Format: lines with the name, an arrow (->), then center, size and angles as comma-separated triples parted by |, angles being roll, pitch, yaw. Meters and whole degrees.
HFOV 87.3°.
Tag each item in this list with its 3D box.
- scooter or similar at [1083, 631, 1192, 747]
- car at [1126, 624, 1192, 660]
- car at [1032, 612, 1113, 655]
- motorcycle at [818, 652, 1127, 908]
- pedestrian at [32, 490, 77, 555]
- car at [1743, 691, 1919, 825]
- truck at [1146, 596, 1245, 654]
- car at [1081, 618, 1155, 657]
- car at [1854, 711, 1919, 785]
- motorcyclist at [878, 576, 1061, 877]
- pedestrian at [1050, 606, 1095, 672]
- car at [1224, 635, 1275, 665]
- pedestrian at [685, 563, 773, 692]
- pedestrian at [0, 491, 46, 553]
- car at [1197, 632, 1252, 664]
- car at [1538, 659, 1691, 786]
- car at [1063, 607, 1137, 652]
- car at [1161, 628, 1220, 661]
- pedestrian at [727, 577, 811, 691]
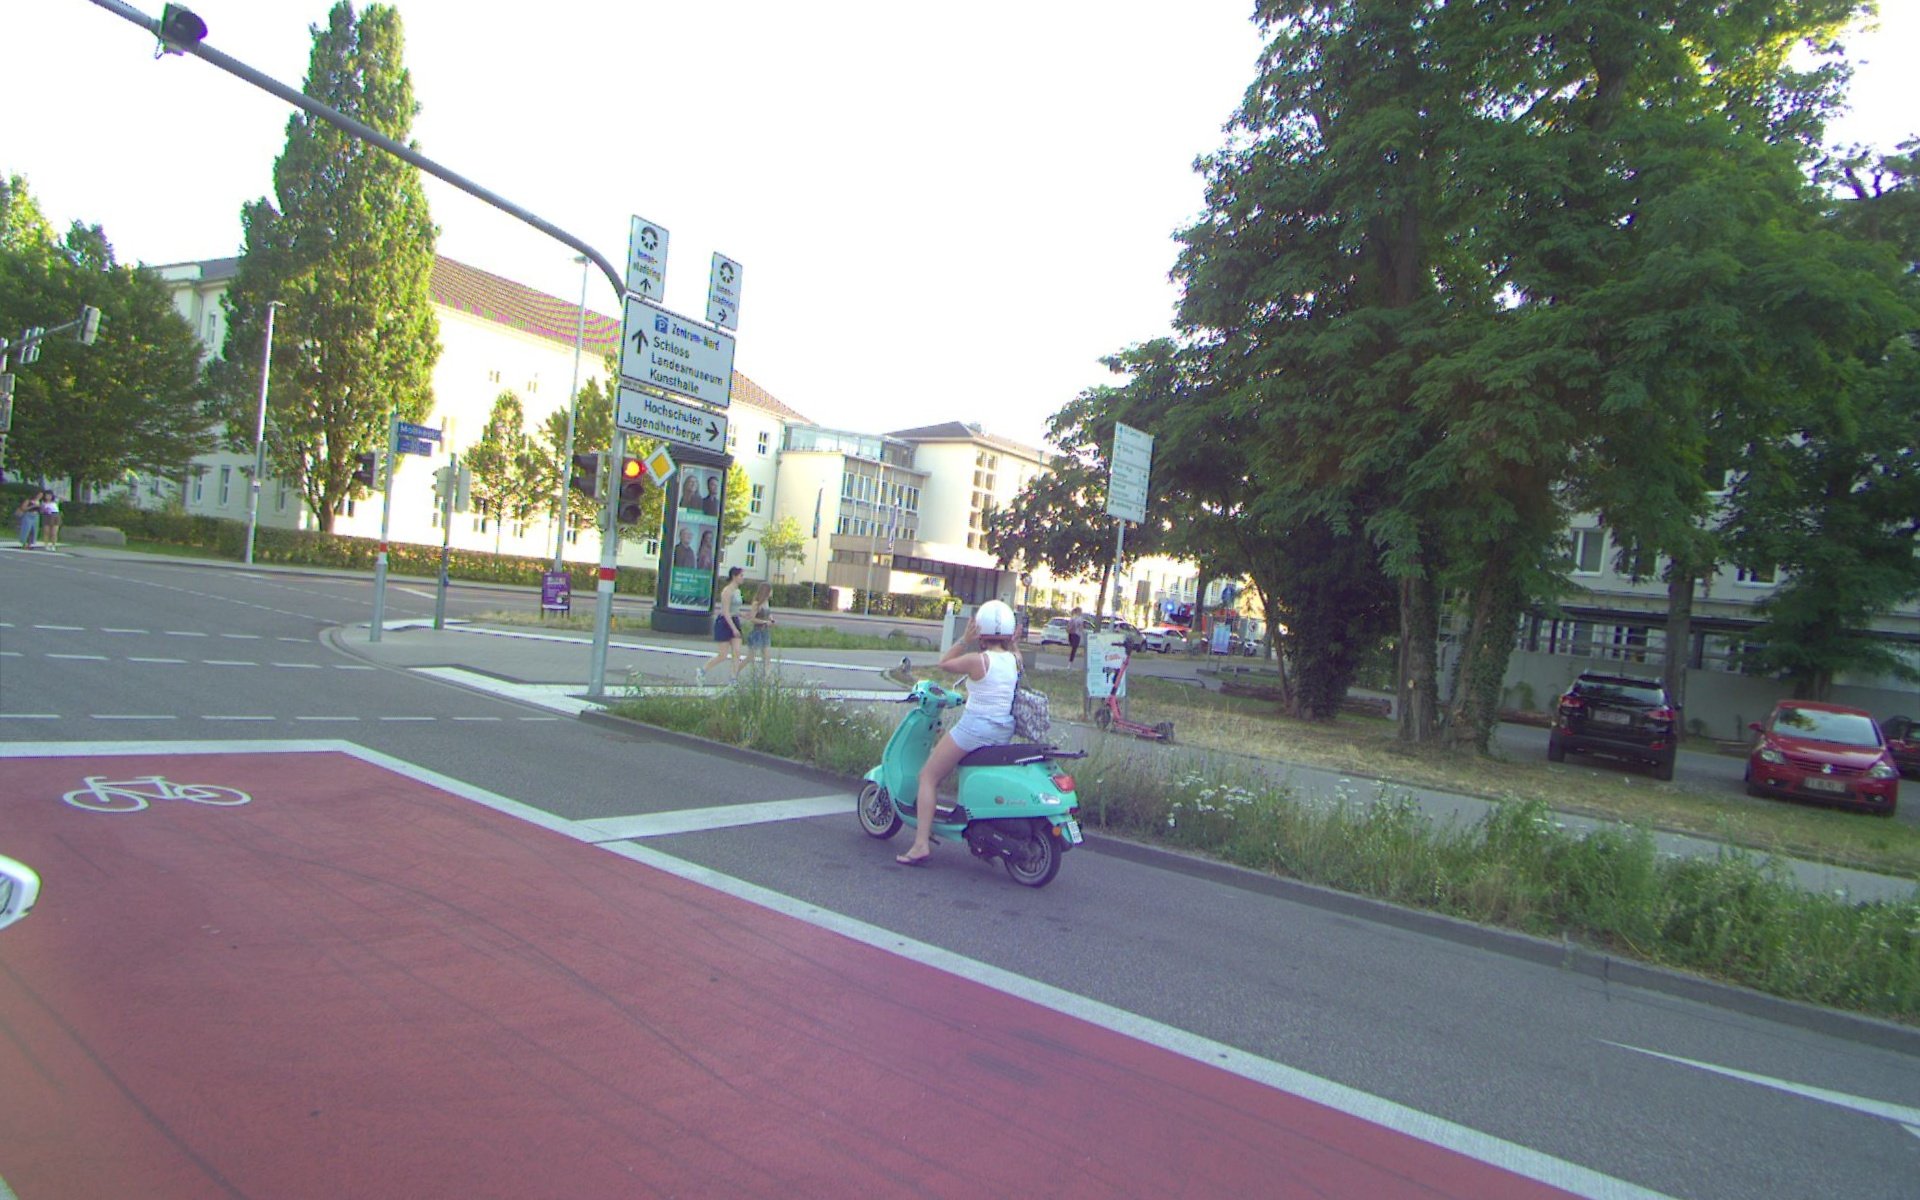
scooter or similar -> 2.249, 1.108, 12.766 | 1.159, 1.288, 0.440 | 7, 1, 31
car -> 10.962, 2.315, 55.206 | 1.969, 1.660, 3.987 | 7, 0, 35
car -> 5.384, 1.608, 47.709 | 1.872, 1.660, 3.983 | 7, 0, 38
motorcycle -> 0.027, 1.068, 6.499 | 1.866, 1.212, 0.681 | 7, 0, 40
pedestrian -> -26.193, -2.240, 29.099 | 0.677, 1.776, 0.681 | 8, 2, 31
car -> 14.046, 2.422, 16.378 | 1.890, 1.631, 3.984 | 7, 0, 38
truck -> 15.921, 1.777, 67.369 | 2.599, 3.179, 10.243 | 6, 0, 35
car -> 8.066, 1.915, 51.182 | 1.970, 1.632, 3.985 | 7, 0, 37
car -> 22.991, 3.585, 24.044 | 1.742, 1.477, 3.618 | 7, 0, 33
motorcyclist -> 0.066, 0.784, 6.495 | 0.680, 1.758, 0.737 | 7, 1, 40
pedestrian -> 3.138, 1.093, 28.120 | 0.694, 1.761, 0.892 | 7, 1, 40
car -> 19.652, 3.406, 68.207 | 1.969, 1.660, 3.987 | 7, 0, 35
pedestrian -> -3.218, 0.382, 14.009 | 0.764, 1.681, 0.719 | 7, 1, 35
pedestrian -> -26.561, -2.205, 28.491 | 0.831, 1.643, 0.681 | 8, 2, 32
car -> 16.729, 3.035, 63.530 | 1.969, 1.660, 3.987 | 7, 0, 35
car -> 11.764, 2.092, 17.955 | 1.890, 1.762, 4.223 | 7, 0, 37
car -> 7.730, 1.650, 55.279 | 2.024, 1.884, 4.486 | 7, -2, 35
car -> 13.767, 2.660, 59.933 | 1.969, 1.660, 3.987 | 7, 0, 35
pedestrian -> -2.777, 0.496, 14.637 | 0.776, 1.542, 0.735 | 7, 1, 34
